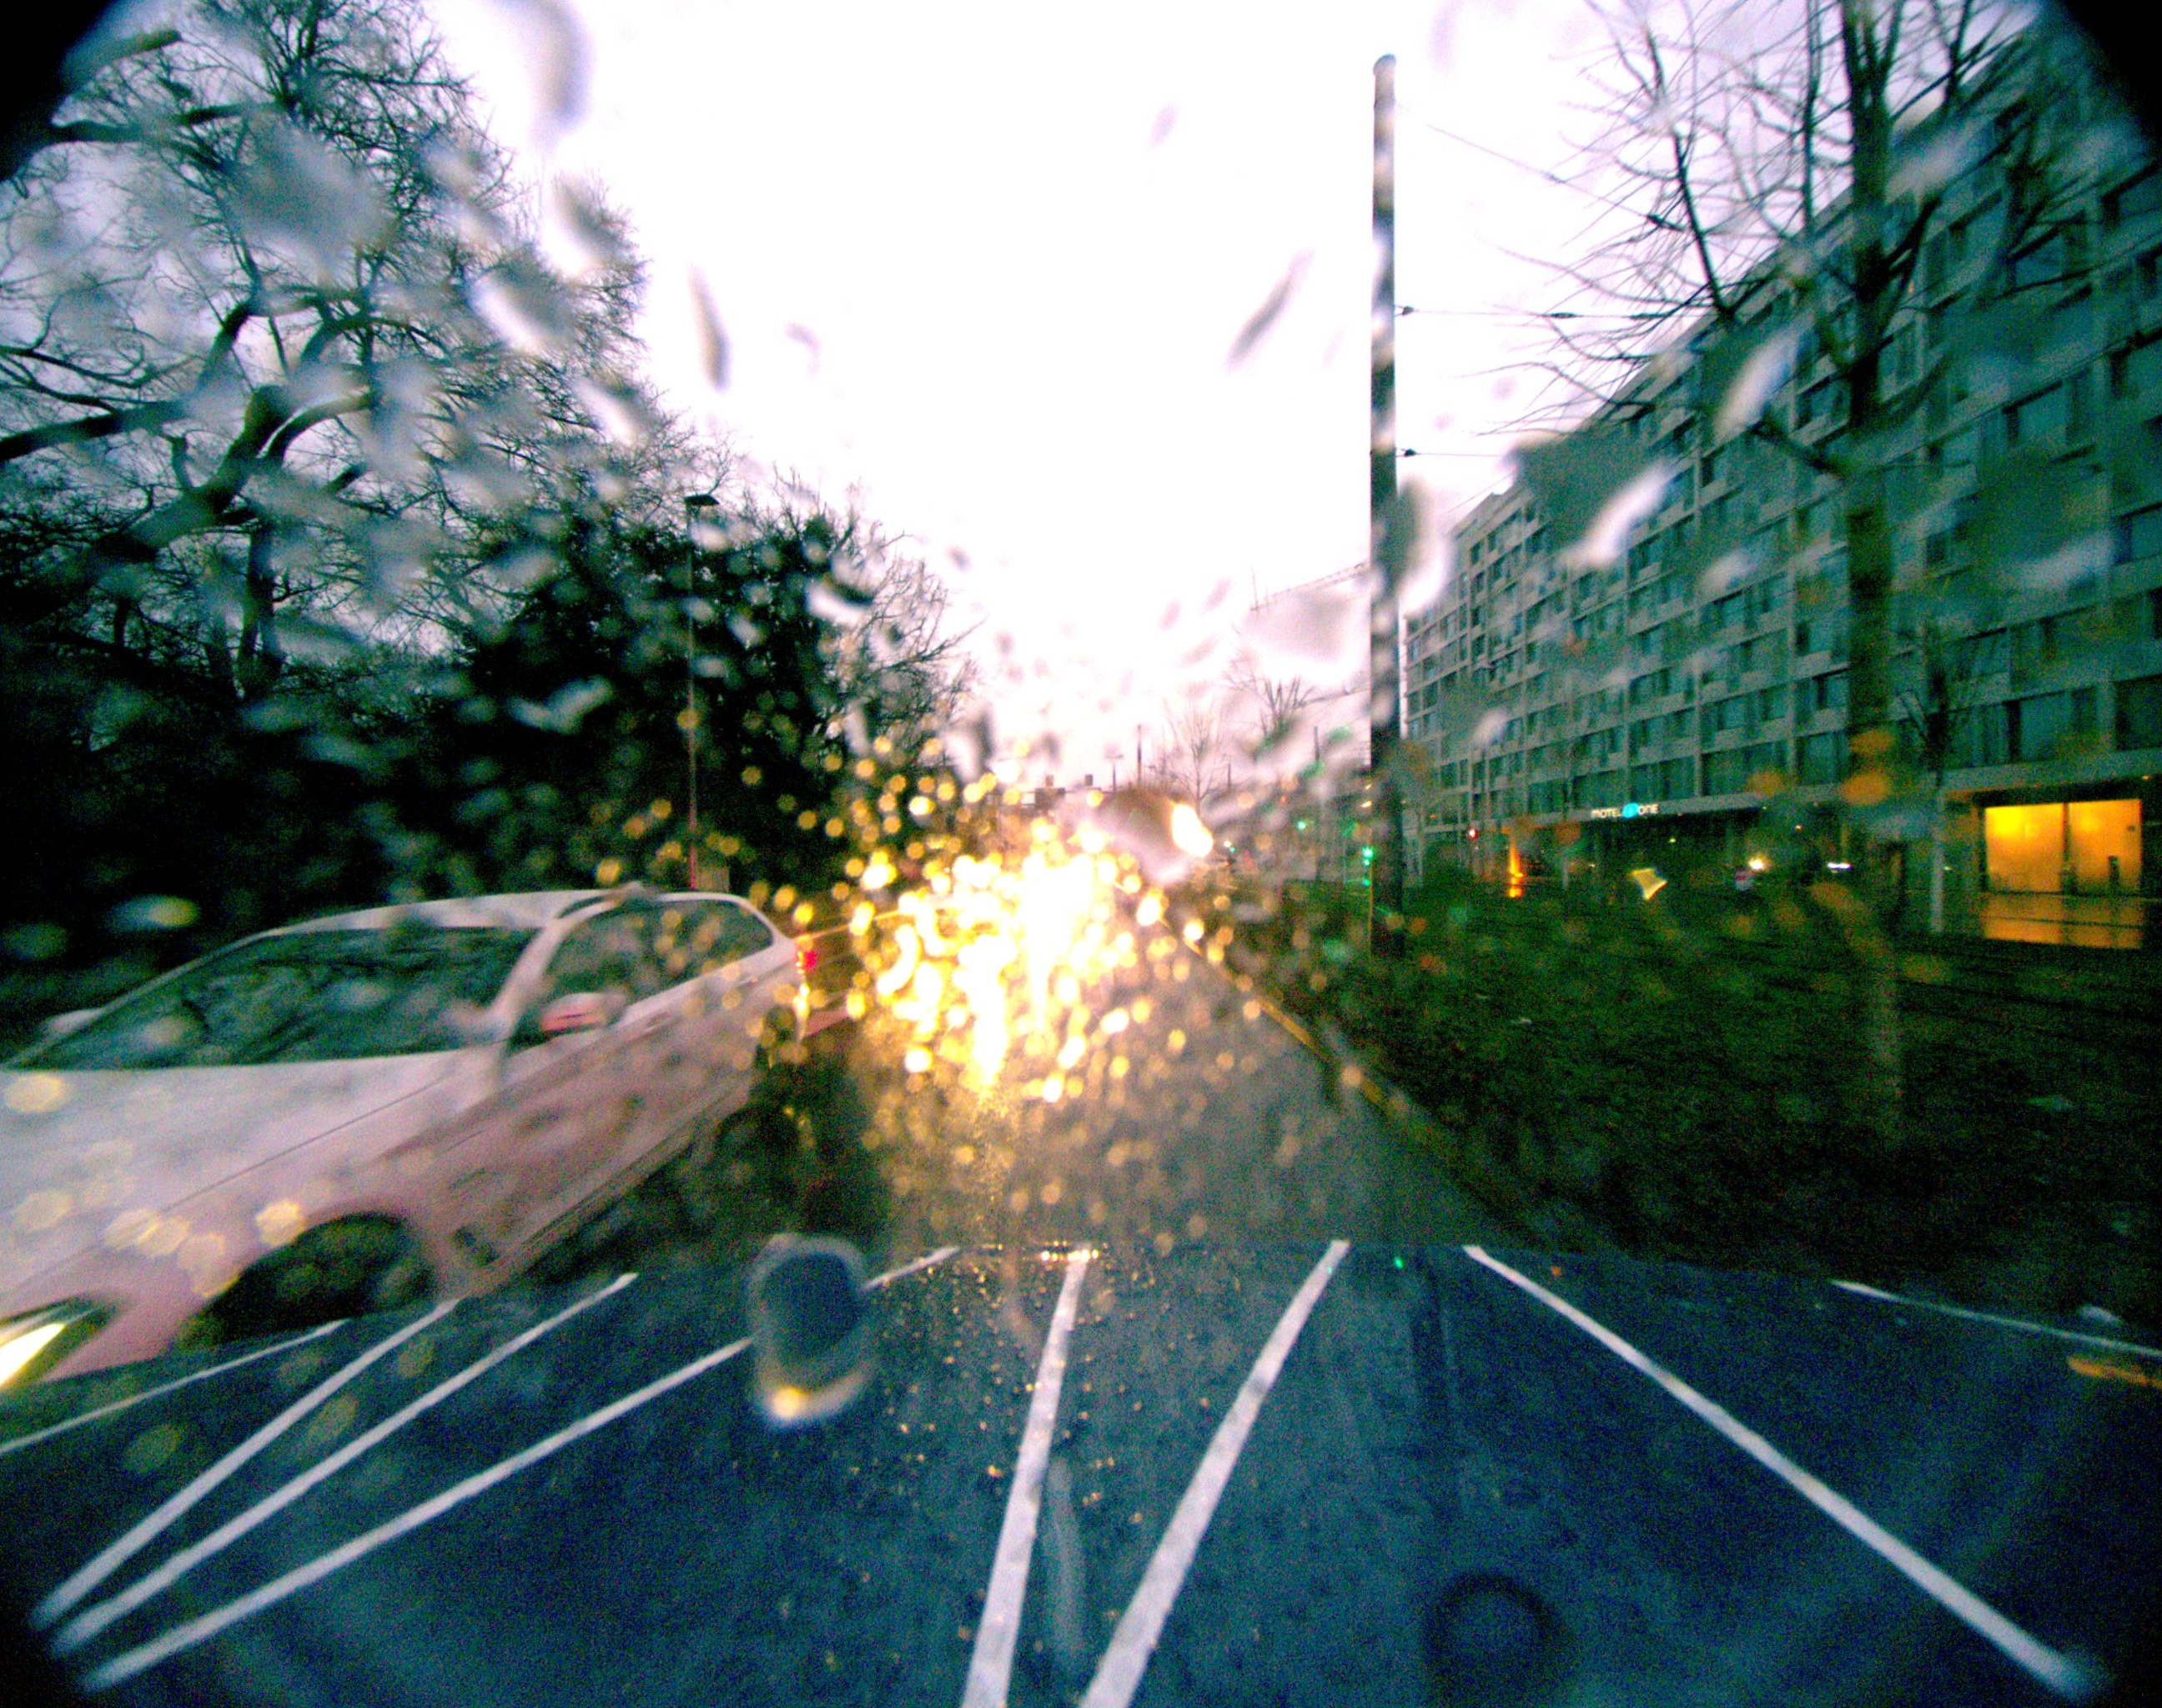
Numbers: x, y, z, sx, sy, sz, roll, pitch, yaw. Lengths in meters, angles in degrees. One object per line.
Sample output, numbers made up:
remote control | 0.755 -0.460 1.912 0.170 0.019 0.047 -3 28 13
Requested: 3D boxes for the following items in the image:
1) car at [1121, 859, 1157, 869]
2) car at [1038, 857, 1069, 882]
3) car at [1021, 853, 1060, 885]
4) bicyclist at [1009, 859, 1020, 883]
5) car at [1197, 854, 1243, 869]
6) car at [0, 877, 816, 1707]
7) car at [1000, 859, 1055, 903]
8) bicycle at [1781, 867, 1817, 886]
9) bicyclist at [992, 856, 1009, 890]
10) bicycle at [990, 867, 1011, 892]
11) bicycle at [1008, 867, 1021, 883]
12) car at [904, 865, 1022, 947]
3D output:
car | 7.105 1.231 93.237 3.990 1.300 1.820 0 0 22
car | -1.967 1.107 55.967 1.998 1.618 4.268 -2 0 1
car | -2.363 0.809 43.395 2.074 1.618 4.266 -2 0 -4
bicyclist | -4.668 1.182 53.448 0.691 1.675 0.593 -2 1 1
car | 15.722 0.849 86.376 2.092 1.659 5.030 0 0 -38
car | -2.856 0.946 3.258 1.868 1.546 4.937 0 0 -2
car | -2.204 1.097 32.387 2.073 1.618 4.267 -2 0 -1
bicycle | 36.332 1.132 38.440 1.349 0.849 0.465 -2 1 -1
bicyclist | -5.314 1.263 50.259 0.968 2.210 0.935 -2 1 0
bicycle | -5.300 1.646 50.134 0.968 1.442 3.389 -2 0 0
bicycle | -4.649 1.500 53.409 0.691 1.036 1.721 -2 0 1
car | -2.472 1.039 16.937 1.886 1.552 4.171 0 0 1
